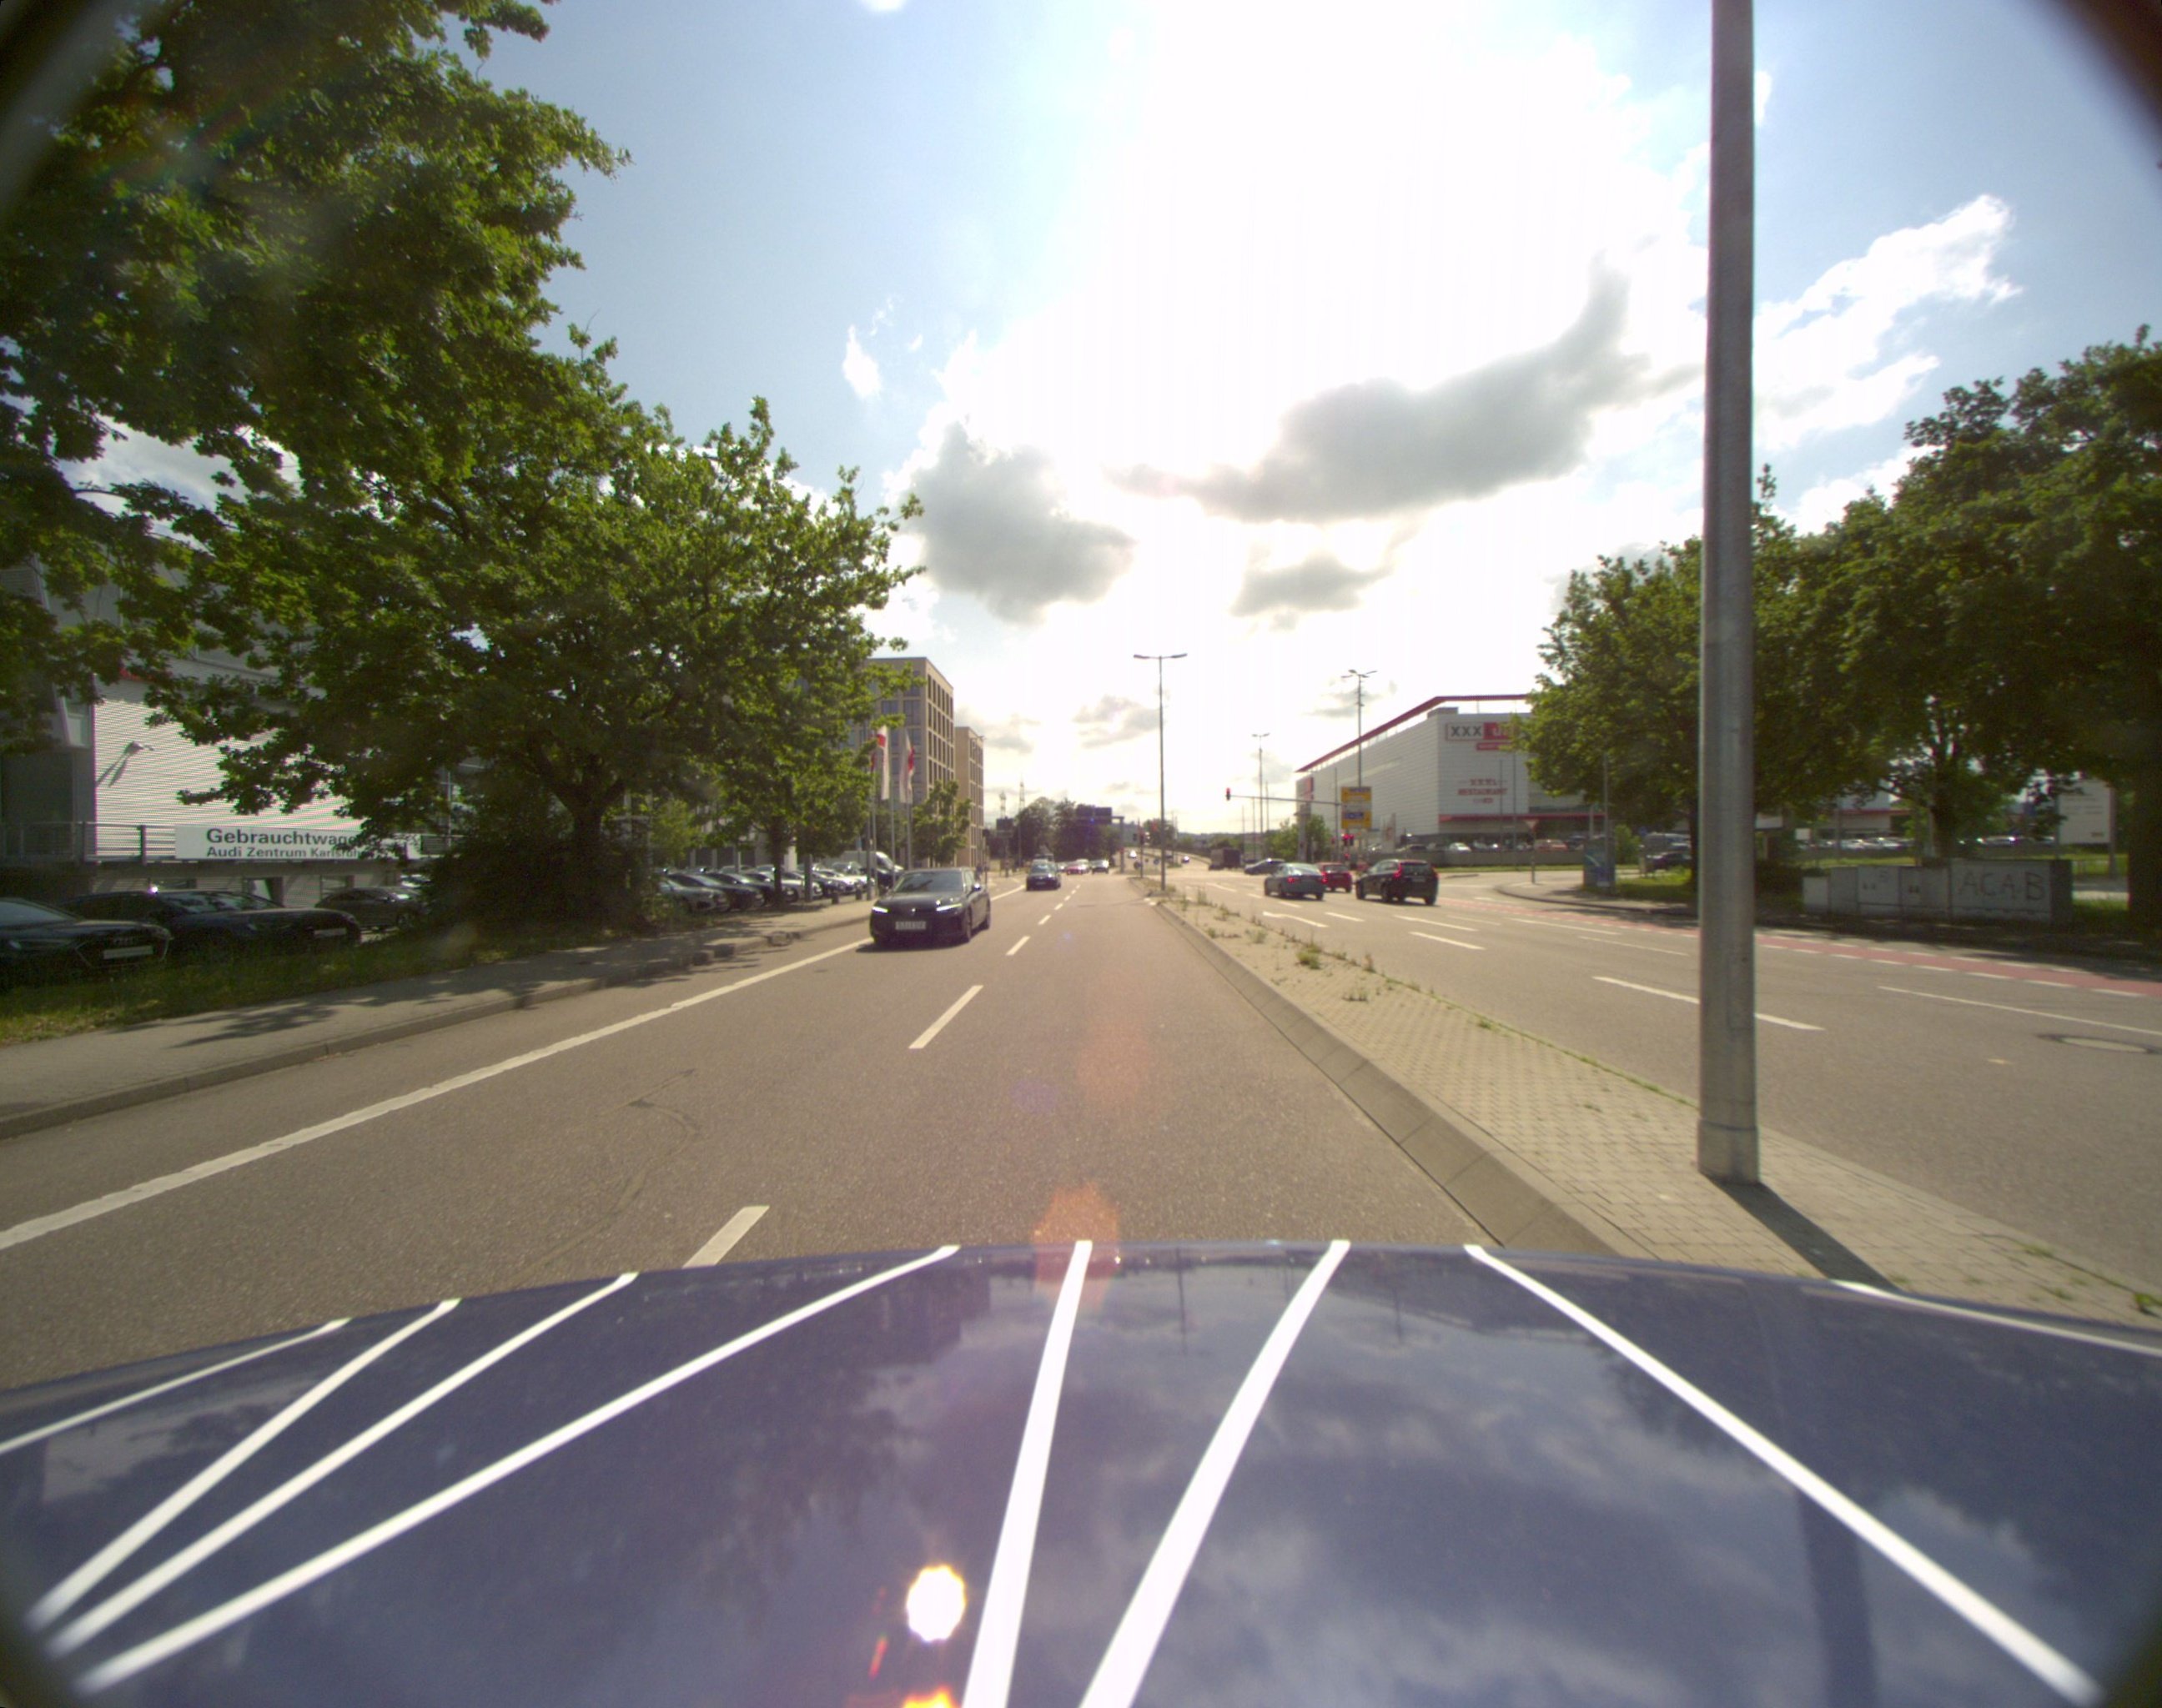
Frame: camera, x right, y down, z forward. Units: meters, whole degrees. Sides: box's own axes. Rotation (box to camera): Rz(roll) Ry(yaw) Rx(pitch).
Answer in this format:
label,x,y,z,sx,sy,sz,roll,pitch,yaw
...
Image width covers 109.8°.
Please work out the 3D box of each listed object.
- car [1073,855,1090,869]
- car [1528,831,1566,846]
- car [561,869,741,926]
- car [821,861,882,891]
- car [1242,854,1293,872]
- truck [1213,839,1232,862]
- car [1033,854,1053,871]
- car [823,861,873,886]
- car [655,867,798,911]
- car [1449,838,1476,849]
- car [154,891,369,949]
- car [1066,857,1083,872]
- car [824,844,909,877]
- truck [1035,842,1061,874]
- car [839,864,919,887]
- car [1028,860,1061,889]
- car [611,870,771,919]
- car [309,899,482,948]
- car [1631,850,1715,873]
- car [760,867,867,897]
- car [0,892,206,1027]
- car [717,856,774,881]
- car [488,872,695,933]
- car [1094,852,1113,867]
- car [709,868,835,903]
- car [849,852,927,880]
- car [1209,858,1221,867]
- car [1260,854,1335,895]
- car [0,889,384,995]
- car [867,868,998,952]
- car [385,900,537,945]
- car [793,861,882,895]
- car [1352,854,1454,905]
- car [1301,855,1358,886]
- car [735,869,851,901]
label,x,y,z,sx,sy,sz,roll,pitch,yaw
car,0.114,1.006,96.253,1.826,1.616,4.214,-2,-1,3
car,61.586,-2.060,100.497,1.916,1.739,4.187,-2,-1,-8
car,-13.569,1.366,24.174,4.586,1.396,1.908,-5,-1,2
car,-13.355,1.257,44.505,1.794,1.455,4.757,-4,0,3
car,16.906,0.815,69.047,4.264,1.521,1.608,-1,0,5
truck,25.881,-0.555,138.998,3.217,4.002,9.080,-2,-1,11
car,-4.249,0.967,85.640,1.999,1.826,4.993,-2,-1,-1
car,-16.860,1.396,55.242,1.905,1.667,4.592,-2,-1,4
car,-13.717,1.344,29.595,4.586,1.289,1.908,-5,-1,2
car,56.253,-1.593,112.209,1.953,1.462,4.425,-1,-1,3
car,-24.277,1.946,22.627,4.357,1.490,1.907,-1,1,2
car,-0.691,1.174,84.594,1.827,1.616,4.212,-2,-1,-1
car,-18.786,0.593,66.684,6.854,2.591,2.141,-2,-1,9
truck,-3.954,0.587,93.347,2.673,3.533,9.785,-2,-1,0
car,-12.842,1.352,48.490,4.586,1.289,1.908,-2,-1,2
car,-2.012,1.109,42.384,1.606,1.521,4.270,-1,-1,0
car,-13.577,1.390,26.639,4.586,1.375,1.908,-4,-1,2
car,-24.042,2.429,26.759,4.357,1.490,1.907,-1,1,2
car,43.069,0.521,55.373,4.582,1.546,1.897,-1,0,2
car,-13.207,1.371,37.718,4.586,1.289,1.908,-2,-1,2
car,-14.904,1.337,10.014,4.586,1.490,1.907,-1,1,2
car,-24.478,1.086,55.592,1.905,1.667,4.592,-2,-1,4
car,-13.659,1.332,21.388,4.586,1.396,1.908,-3,-1,2
car,2.490,0.651,84.973,1.827,1.616,4.212,-2,-1,-1
car,-13.125,1.342,32.484,4.586,1.289,1.908,-2,-1,2
car,-12.773,0.826,50.430,4.586,1.668,1.908,-2,-1,2
car,22.622,1.443,128.246,1.777,1.469,4.682,-1,-1,7
car,8.925,0.784,31.697,1.777,1.539,4.821,1,0,1
car,-14.781,1.405,12.671,4.586,1.490,1.907,-1,1,2
car,-2.984,1.068,16.404,1.813,1.469,5.204,-1,-1,0
car,-24.106,2.649,29.644,4.357,1.490,1.907,-1,1,2
car,-12.886,1.240,40.371,3.996,1.455,1.796,-4,0,2
car,12.332,0.897,29.455,1.933,1.745,4.821,1,0,1
car,12.607,0.805,38.794,1.690,1.474,4.126,1,0,2
car,-13.228,1.413,35.076,4.586,1.289,1.908,-2,-1,2
